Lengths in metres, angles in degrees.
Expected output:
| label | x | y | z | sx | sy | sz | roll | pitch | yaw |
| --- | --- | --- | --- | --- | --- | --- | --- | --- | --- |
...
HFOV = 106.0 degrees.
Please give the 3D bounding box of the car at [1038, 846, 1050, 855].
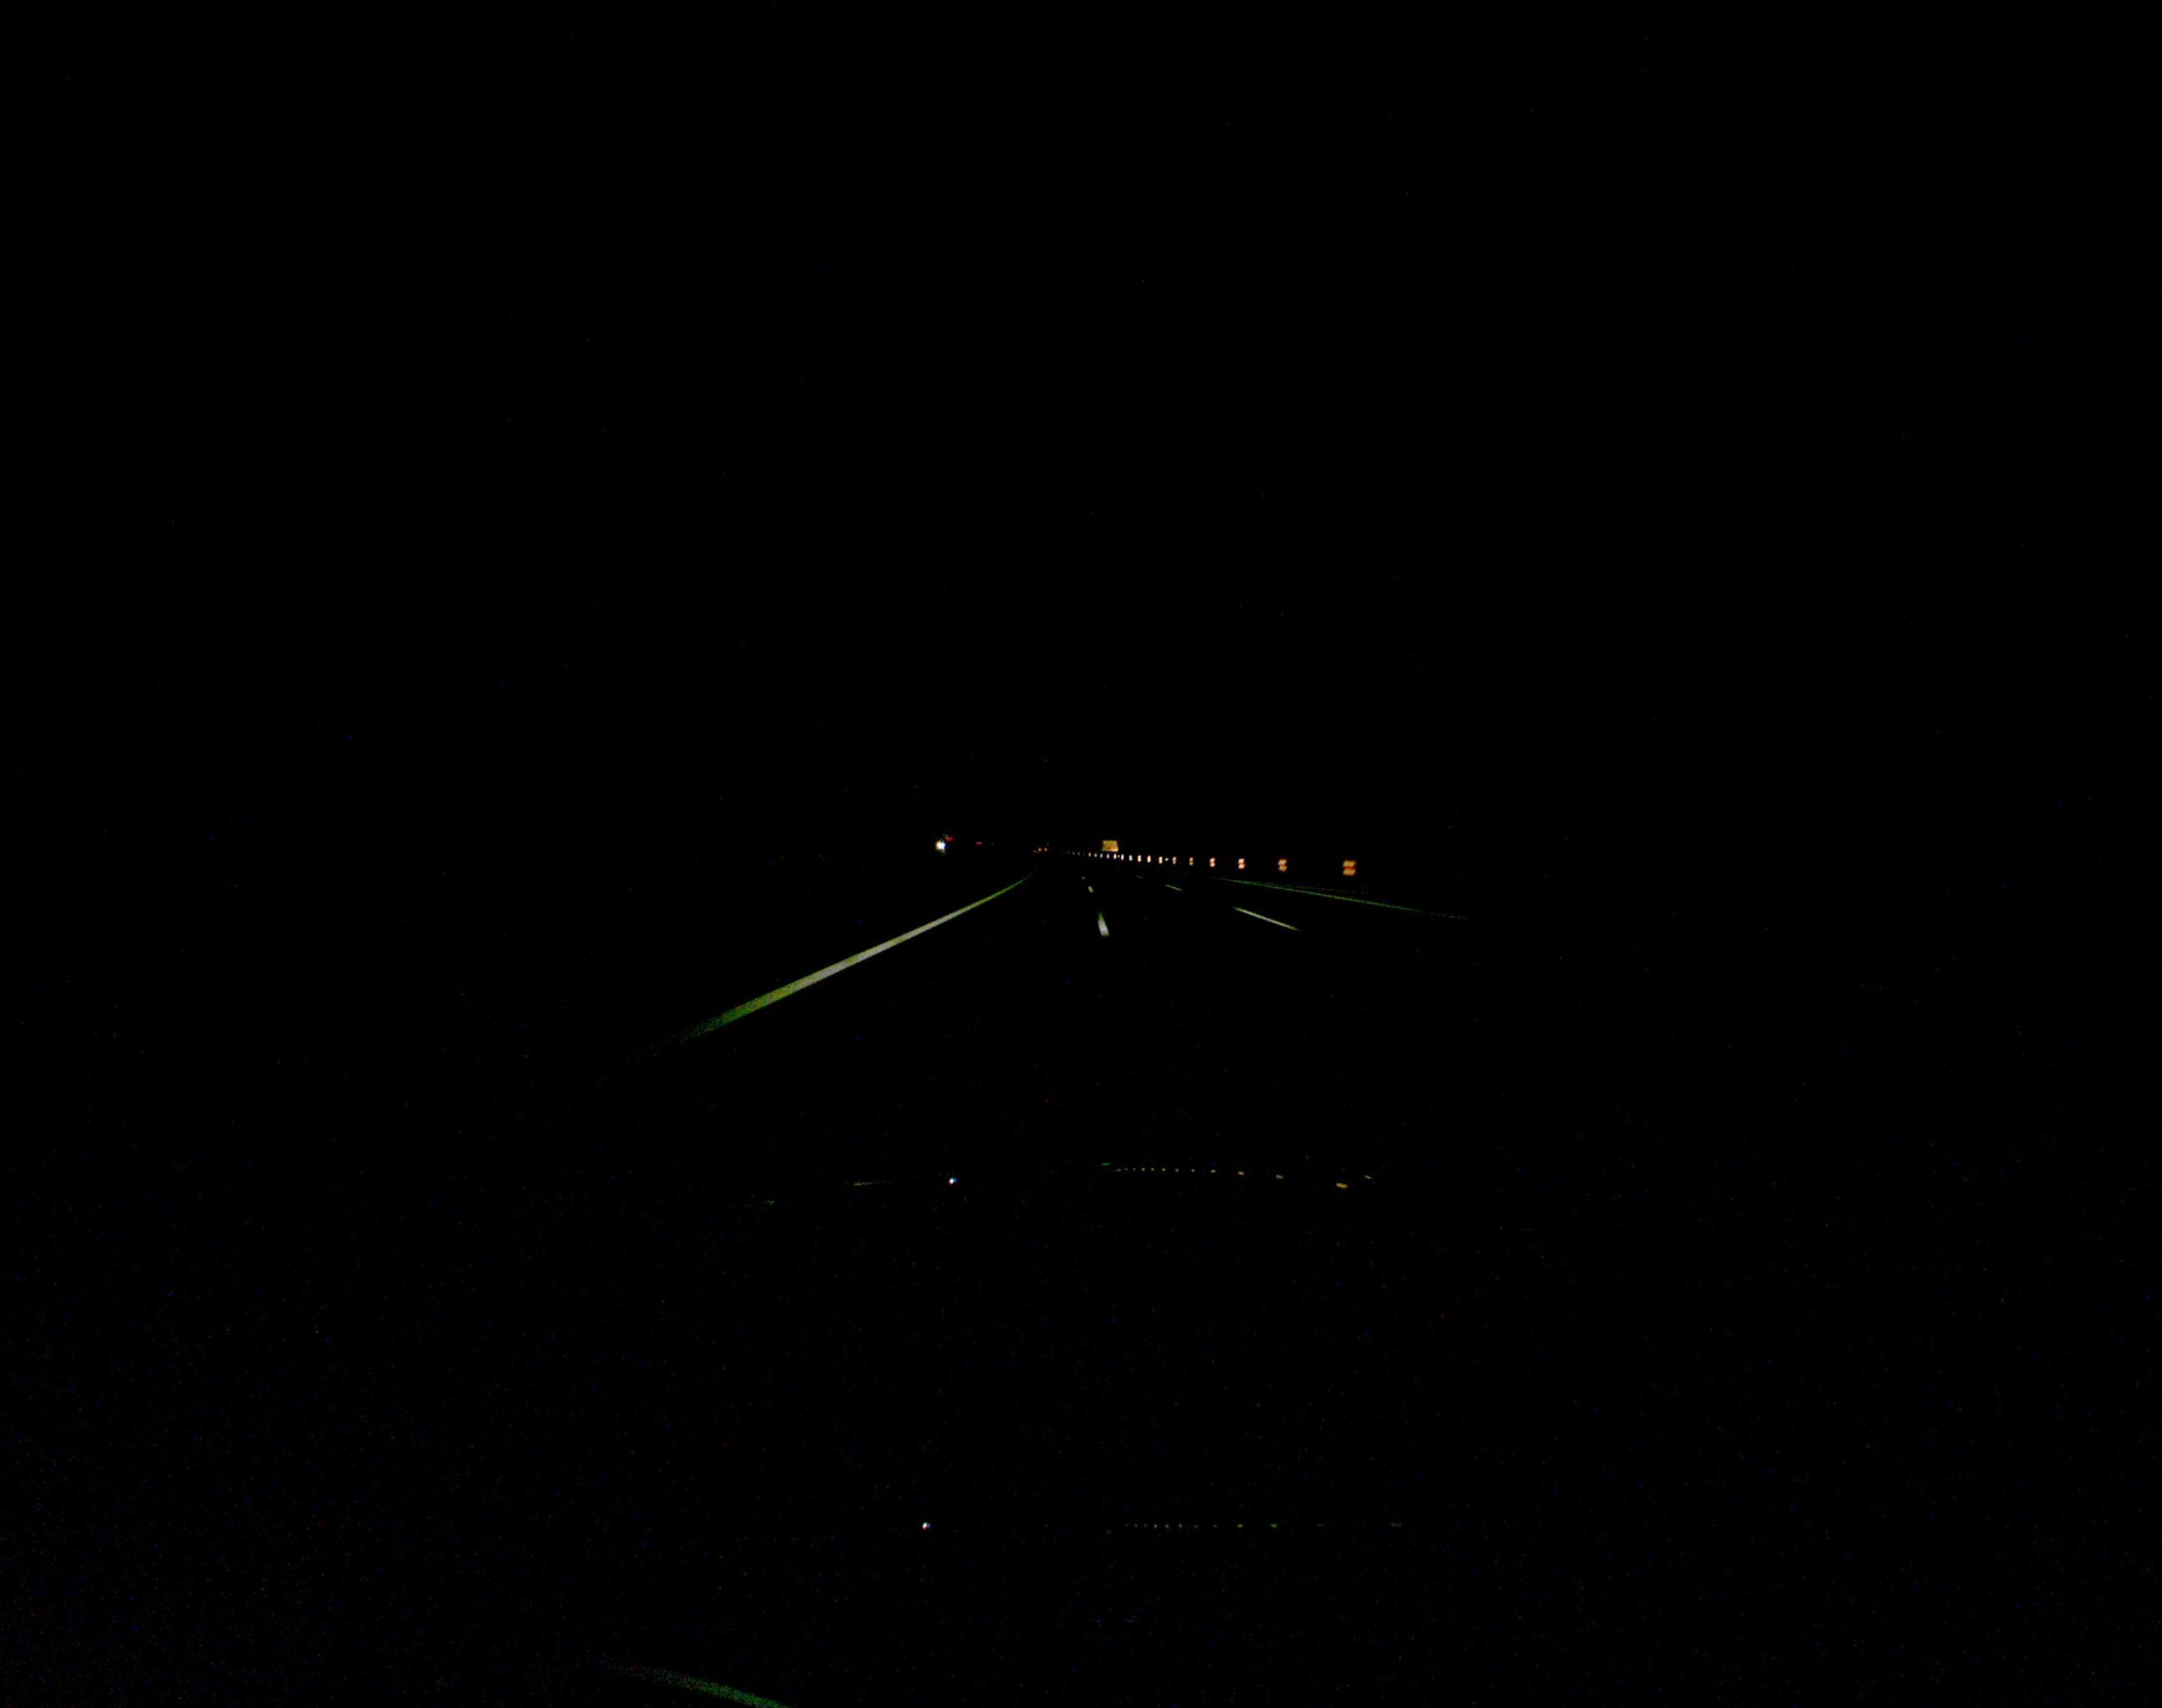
| label | x | y | z | sx | sy | sz | roll | pitch | yaw |
| --- | --- | --- | --- | --- | --- | --- | --- | --- | --- |
| car | -11.161 | -1.161 | 244.159 | 2.529 | 2.553 | 6.029 | 1 | 1 | -11 |
